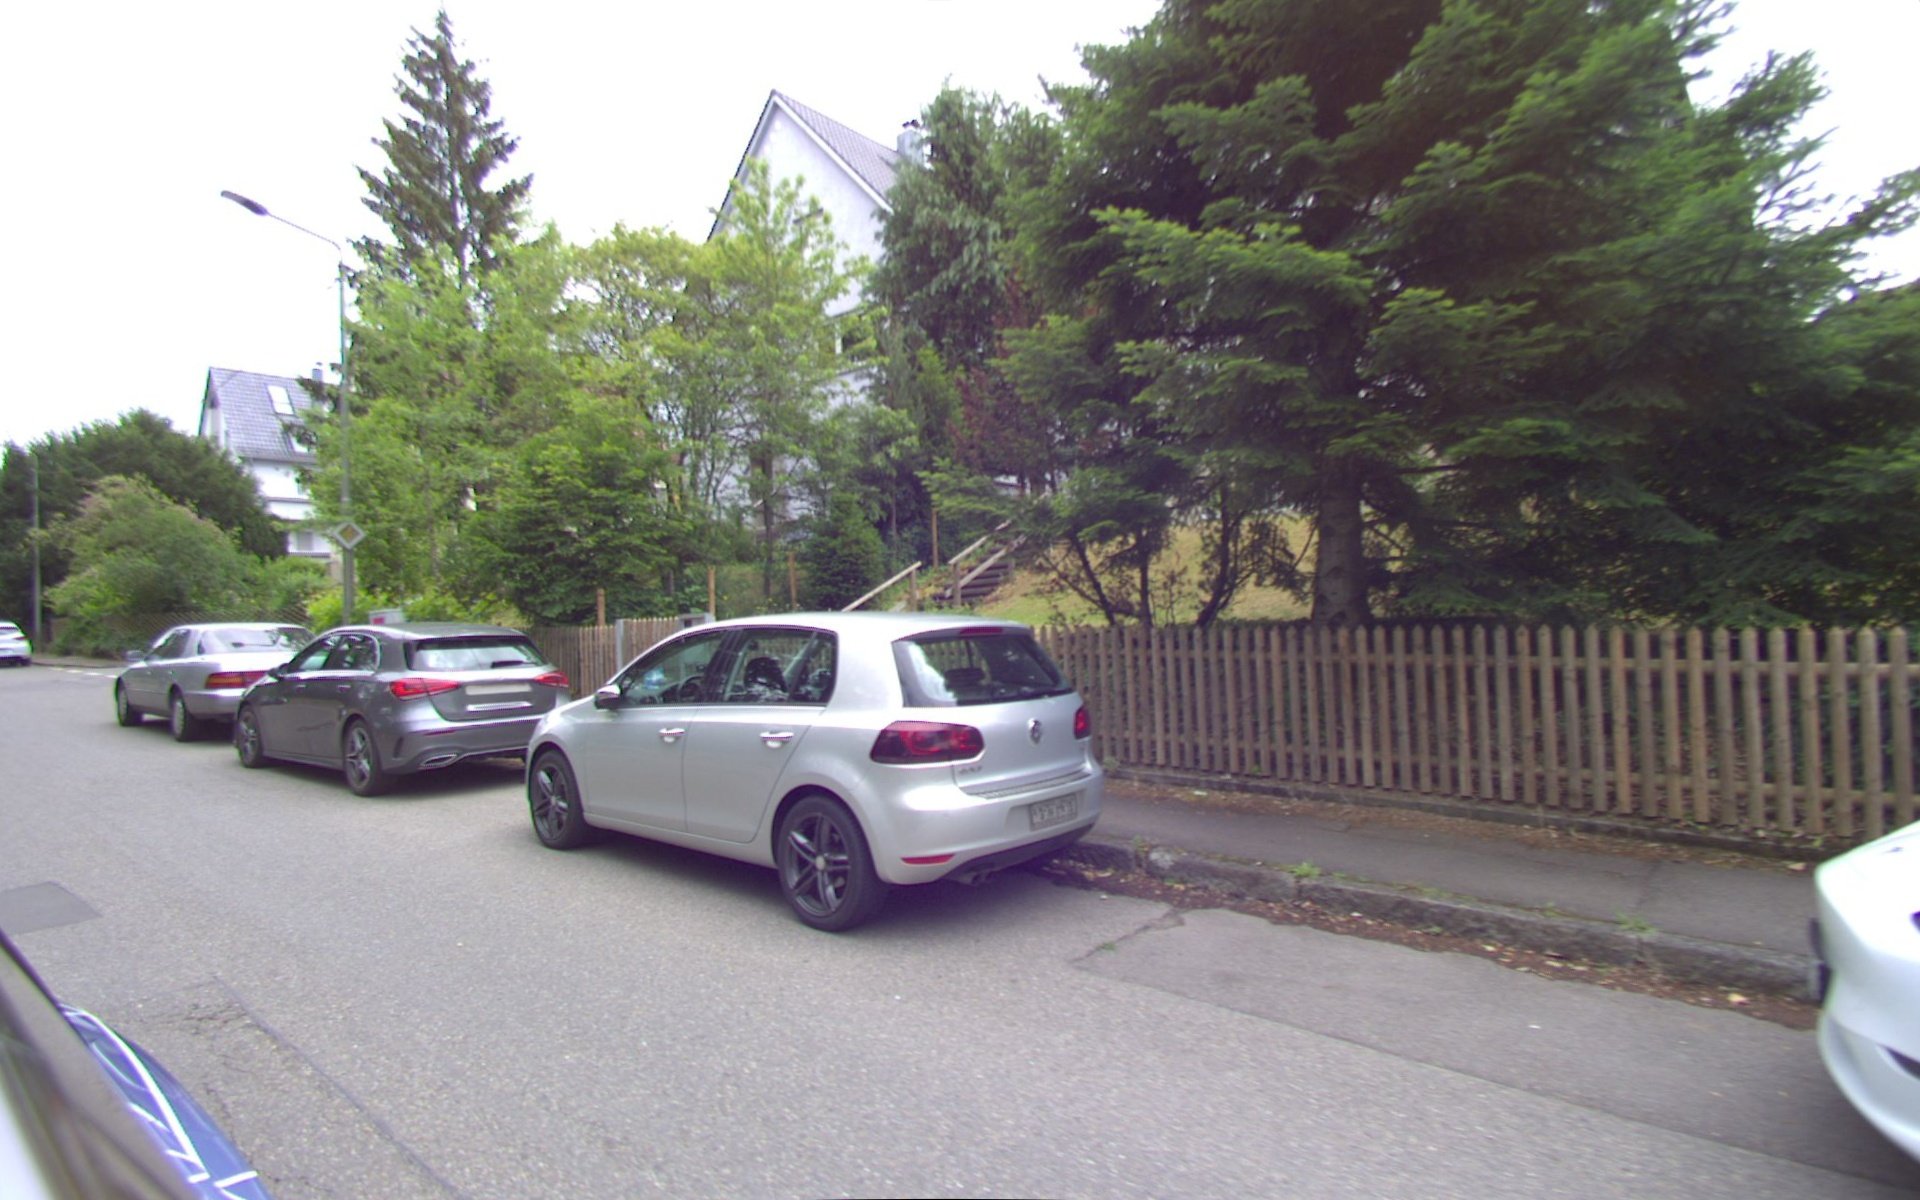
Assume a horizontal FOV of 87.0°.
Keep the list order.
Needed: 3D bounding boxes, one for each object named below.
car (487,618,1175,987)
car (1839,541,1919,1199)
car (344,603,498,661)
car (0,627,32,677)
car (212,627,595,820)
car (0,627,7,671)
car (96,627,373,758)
[{"bbox_3d":[-0.998,0.861,6.050,4.114,1.450,1.815,-2,-2,41],"label":"car"},{"bbox_3d":[4.211,0.645,1.233,4.598,1.574,1.897,-2,-3,39],"label":"car"},{"bbox_3d":[-17.136,0.983,32.272,1.723,1.494,3.942,-3,1,45],"label":"car"},{"bbox_3d":[-31.154,1.661,32.279,4.011,1.511,1.766,-2,0,40],"label":"car"},{"bbox_3d":[-5.456,1.003,9.711,4.257,1.450,1.717,-2,-2,38],"label":"car"},{"bbox_3d":[-34.787,1.742,35.303,4.011,1.511,1.766,-2,0,40],"label":"car"},{"bbox_3d":[-9.859,1.112,13.592,4.905,1.450,1.830,-2,-2,39],"label":"car"}]
